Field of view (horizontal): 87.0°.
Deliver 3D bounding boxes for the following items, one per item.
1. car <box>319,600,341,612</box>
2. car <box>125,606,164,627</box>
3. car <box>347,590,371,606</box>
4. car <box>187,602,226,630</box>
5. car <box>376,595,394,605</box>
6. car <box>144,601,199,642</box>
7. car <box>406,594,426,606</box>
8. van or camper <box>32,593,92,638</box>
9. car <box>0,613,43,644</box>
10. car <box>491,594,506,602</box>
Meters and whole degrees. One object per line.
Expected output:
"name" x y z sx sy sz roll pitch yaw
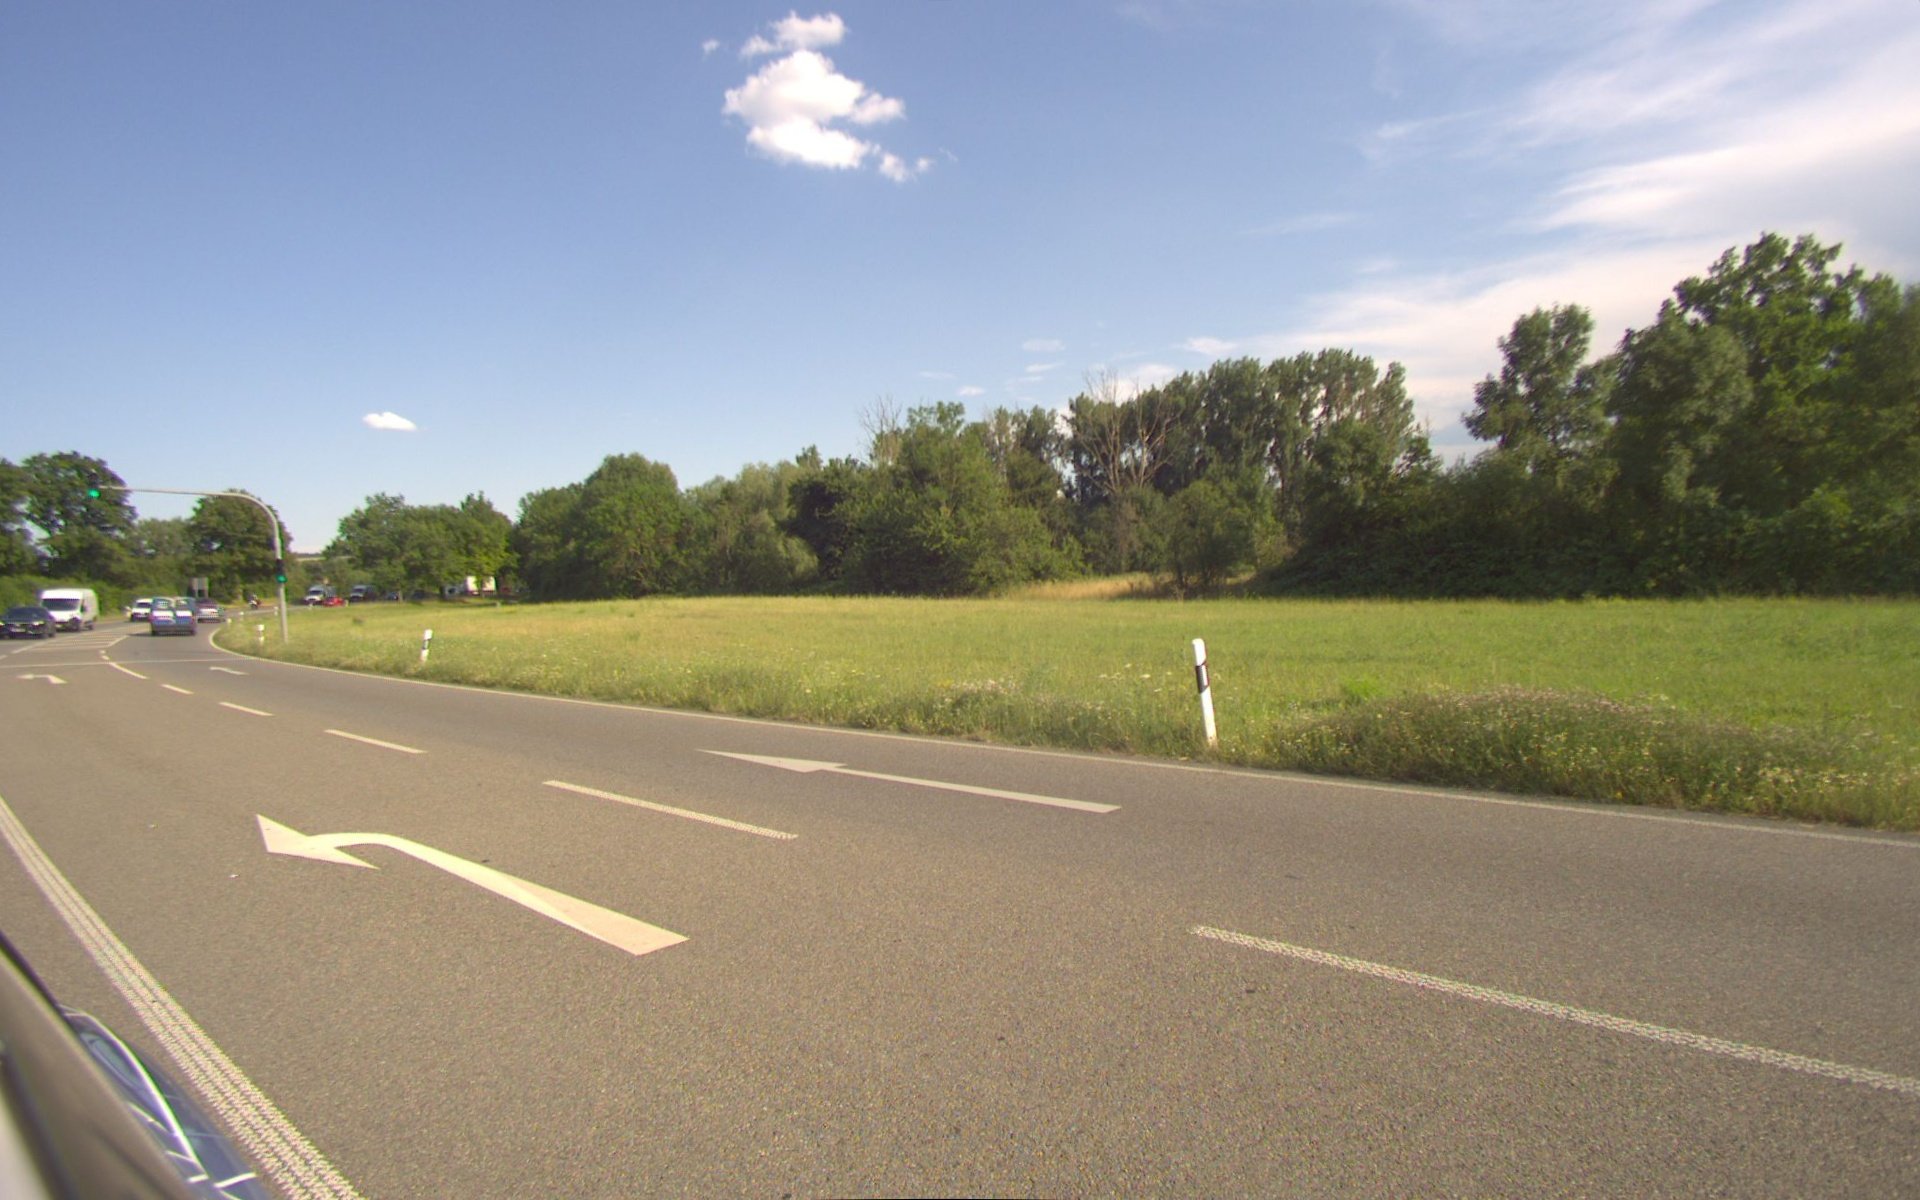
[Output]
"car" -84.523 0.825 135.896 1.564 1.478 3.617 0 -1 -16
"car" -65.164 1.282 80.951 1.646 1.490 3.506 -3 1 -26
"car" -95.356 -0.382 160.672 1.966 2.405 4.951 -3 1 -16
"car" -58.812 1.227 79.010 1.756 2.028 3.857 -3 1 -27
"car" -98.360 -0.015 173.070 1.631 1.616 3.880 -3 1 -14
"car" -43.858 1.161 56.386 1.971 2.153 4.792 -1 0 -33
"car" -92.631 -0.026 172.443 1.702 1.897 4.343 0 -1 -9
"van or camper" -53.744 0.906 60.655 2.002 2.494 5.090 -3 1 -35
"car" -46.980 1.389 50.419 1.582 1.490 3.624 1 -2 -37
"car" -95.223 -0.444 208.921 1.615 1.707 3.621 0 0 -4
